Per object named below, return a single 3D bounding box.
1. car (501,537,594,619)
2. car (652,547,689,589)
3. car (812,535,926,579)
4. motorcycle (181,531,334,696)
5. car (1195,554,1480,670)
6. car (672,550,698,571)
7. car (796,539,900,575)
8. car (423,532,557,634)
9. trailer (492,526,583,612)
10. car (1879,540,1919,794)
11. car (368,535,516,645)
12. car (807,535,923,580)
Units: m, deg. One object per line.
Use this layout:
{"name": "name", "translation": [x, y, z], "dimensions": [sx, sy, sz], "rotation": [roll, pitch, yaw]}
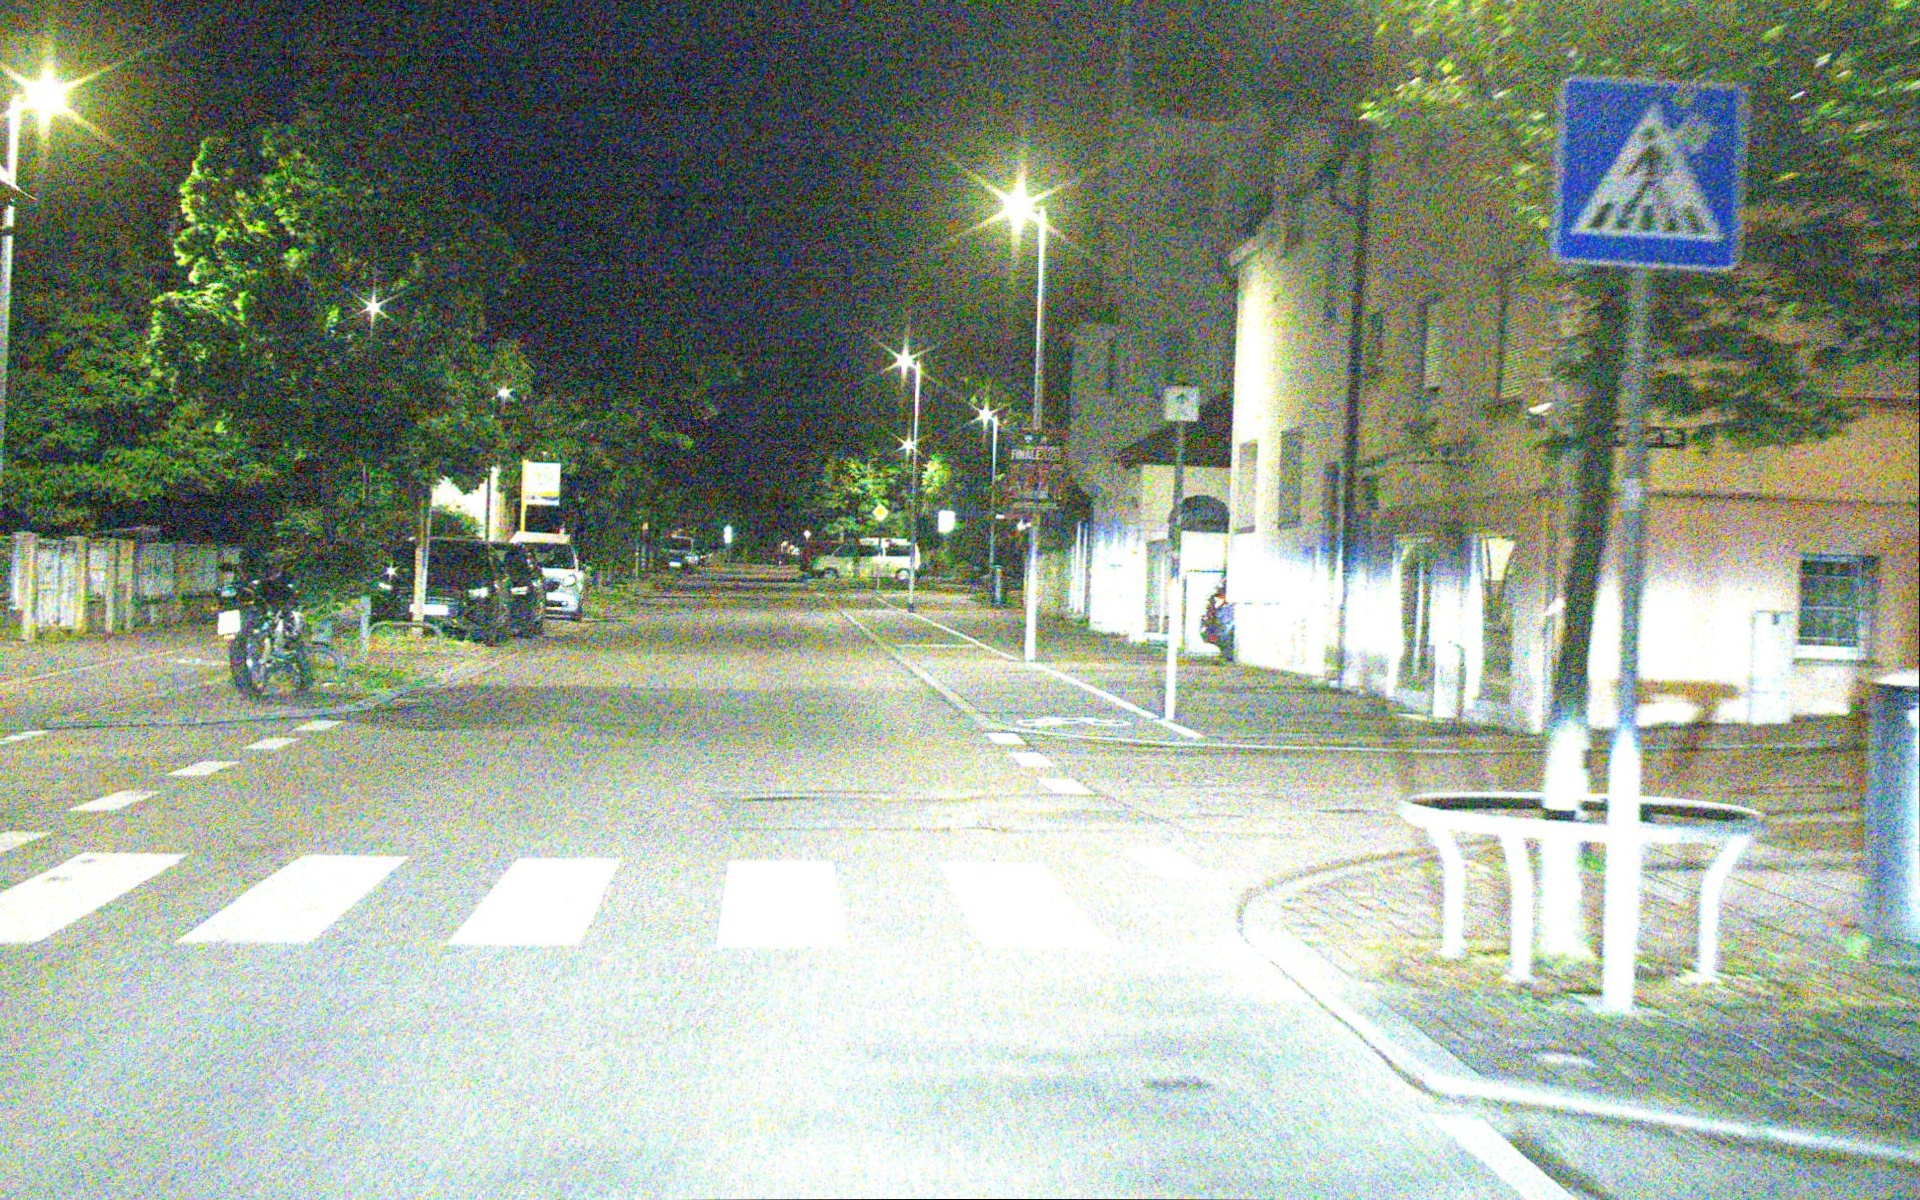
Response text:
{"name": "car", "translation": [-8.356, -0.470, 69.799], "dimensions": [1.671, 1.517, 2.979], "rotation": [4, 1, -5]}
{"name": "car", "translation": [-15.108, -1.661, 179.460], "dimensions": [1.824, 1.980, 4.466], "rotation": [3, -1, -5]}
{"name": "car", "translation": [-4.235, -1.994, 159.421], "dimensions": [5.181, 2.007, 2.102], "rotation": [0, 1, -4]}
{"name": "motorcycle", "translation": [-6.442, 0.110, 31.620], "dimensions": [0.746, 1.447, 2.195], "rotation": [1, 1, 5]}
{"name": "car", "translation": [5.209, 0.155, 47.773], "dimensions": [3.711, 1.468, 1.730], "rotation": [2, 0, 0]}
{"name": "car", "translation": [-18.305, -2.632, 228.515], "dimensions": [1.683, 1.326, 3.600], "rotation": [1, 1, -5]}
{"name": "car", "translation": [-5.888, -2.270, 181.000], "dimensions": [5.183, 1.880, 2.101], "rotation": [0, 1, 6]}
{"name": "car", "translation": [-7.587, -0.300, 55.797], "dimensions": [1.766, 1.514, 4.279], "rotation": [3, 1, -3]}
{"name": "trailer", "translation": [-8.943, -0.655, 73.002], "dimensions": [1.448, 1.682, 3.426], "rotation": [4, 1, -1]}
{"name": "car", "translation": [7.503, 0.353, 20.420], "dimensions": [3.505, 1.519, 1.821], "rotation": [-2, 1, -4]}
{"name": "car", "translation": [-7.580, -0.177, 50.618], "dimensions": [1.688, 1.505, 4.279], "rotation": [2, 1, -3]}
{"name": "car", "translation": [-4.326, -1.946, 156.348], "dimensions": [5.181, 2.007, 2.102], "rotation": [0, 1, -4]}
